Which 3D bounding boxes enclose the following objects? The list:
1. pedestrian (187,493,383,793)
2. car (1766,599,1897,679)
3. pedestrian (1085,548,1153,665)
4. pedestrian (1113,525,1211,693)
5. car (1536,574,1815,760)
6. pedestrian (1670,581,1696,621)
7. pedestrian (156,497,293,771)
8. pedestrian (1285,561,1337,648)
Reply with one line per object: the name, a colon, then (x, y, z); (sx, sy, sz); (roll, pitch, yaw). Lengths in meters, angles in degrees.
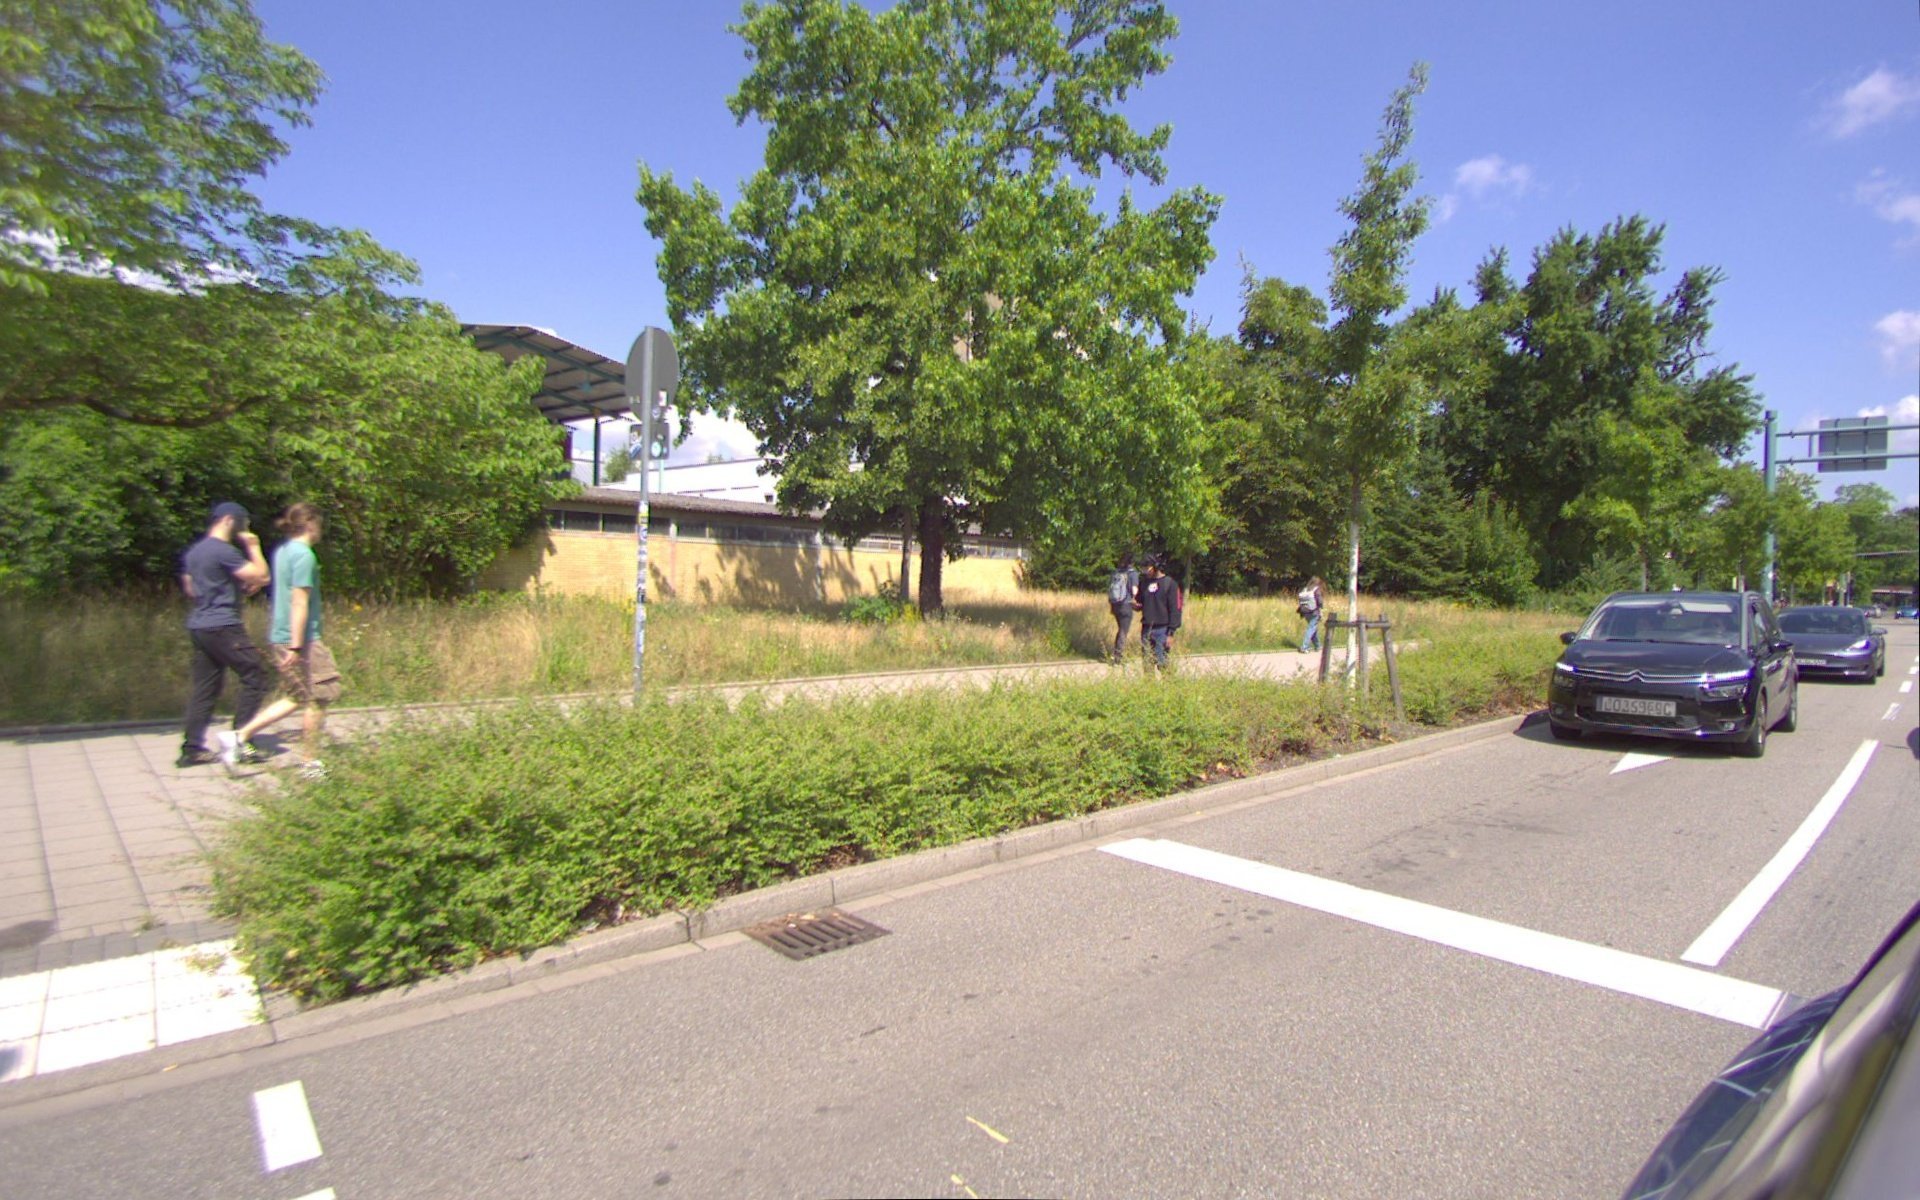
pedestrian: (-4.421, 0.241, 6.644); (0.748, 1.799, 0.869); (3, 2, 39)
car: (17.483, 0.709, 20.232); (1.761, 1.436, 4.294); (-1, -1, 44)
pedestrian: (2.499, 0.083, 15.922); (0.749, 1.771, 0.656); (3, 2, 44)
pedestrian: (2.251, 0.079, 11.240); (0.666, 1.771, 0.834); (3, 2, 44)
car: (8.073, 0.588, 11.231); (1.858, 1.643, 4.447); (0, 0, 44)
pedestrian: (33.040, 0.036, 46.247); (0.842, 1.787, 0.828); (-1, 0, 44)
pedestrian: (-5.070, 0.206, 6.978); (0.665, 1.768, 0.601); (3, 2, 39)
pedestrian: (7.344, 0.083, 21.181); (0.666, 1.771, 0.864); (3, 2, 44)
